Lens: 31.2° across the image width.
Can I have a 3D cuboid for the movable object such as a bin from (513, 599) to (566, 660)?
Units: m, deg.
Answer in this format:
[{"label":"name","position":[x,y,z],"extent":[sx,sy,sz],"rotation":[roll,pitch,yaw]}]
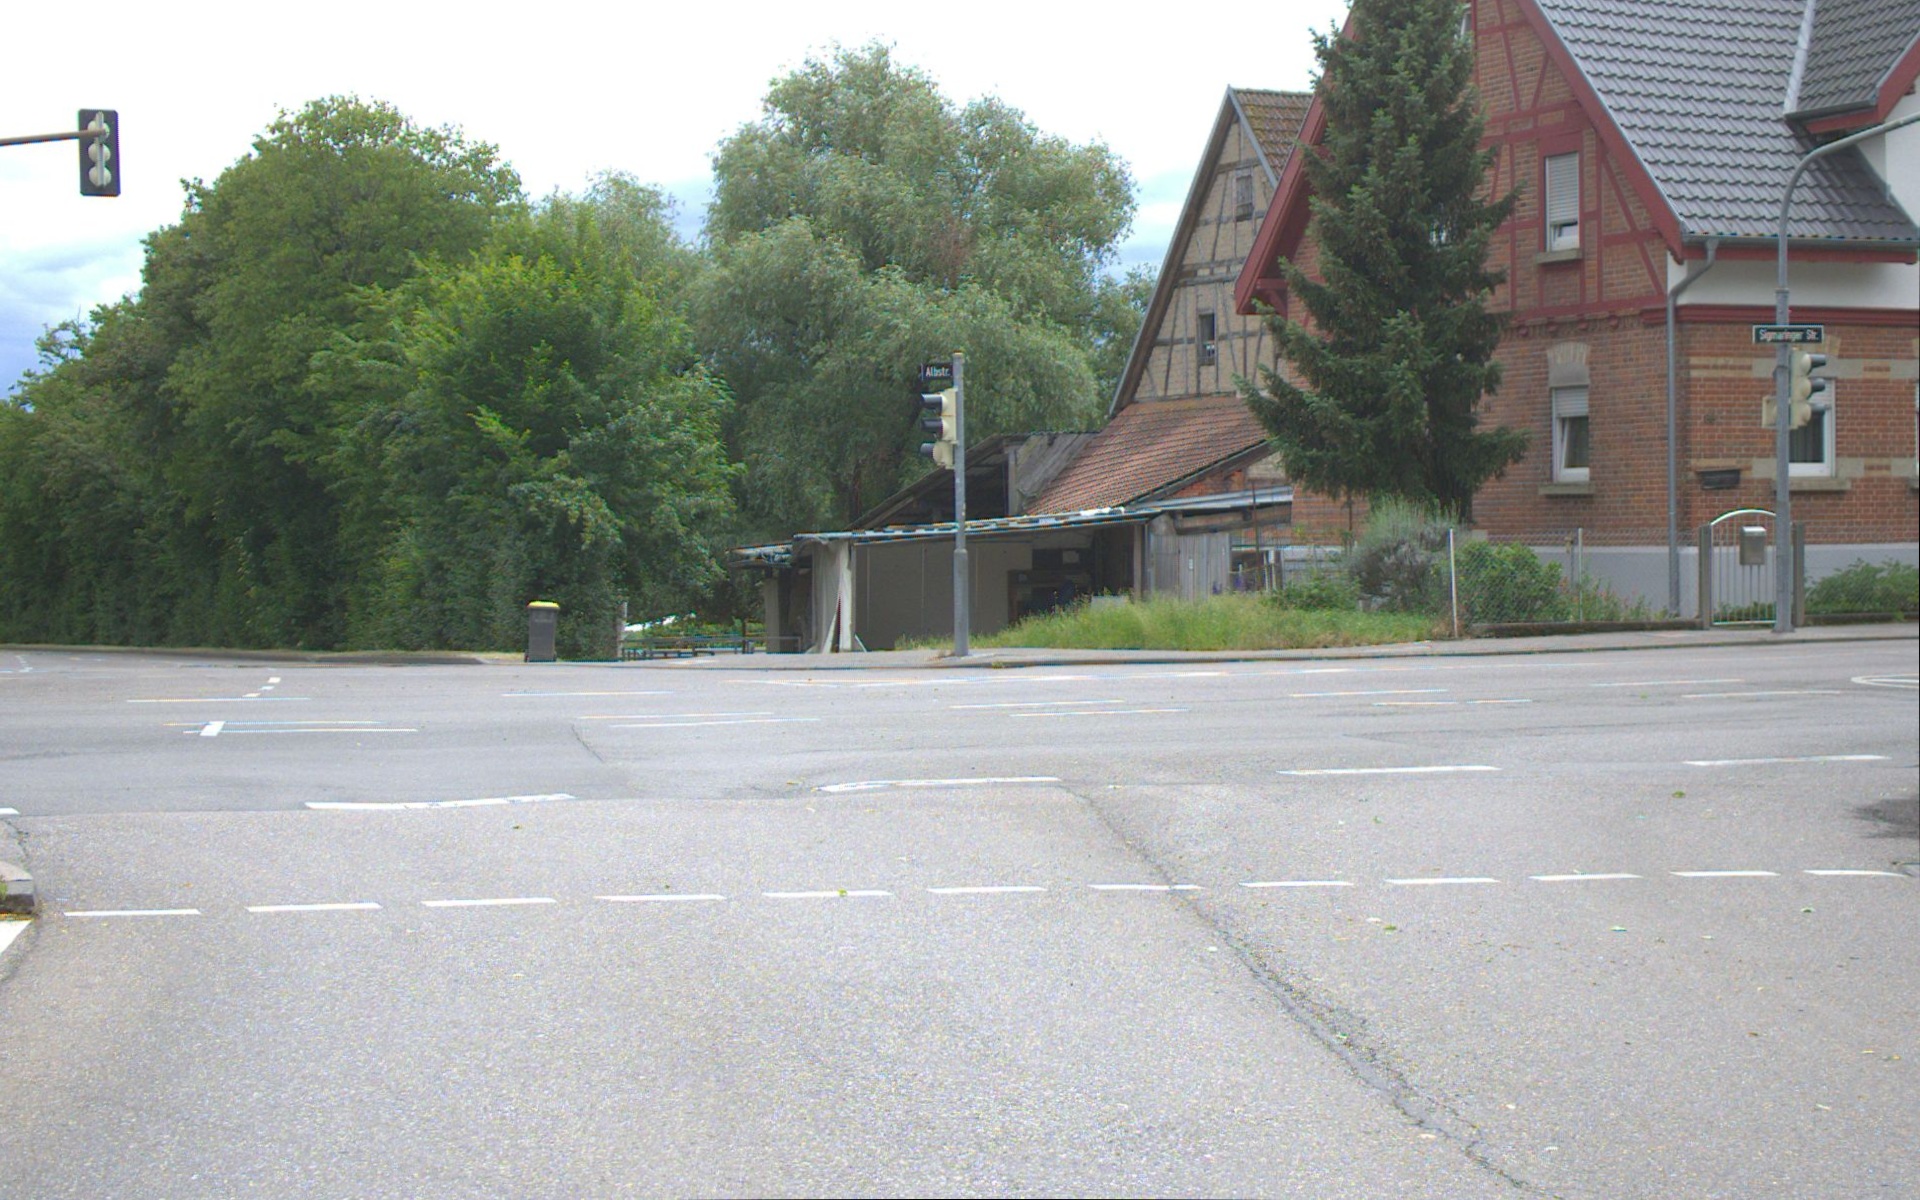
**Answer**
[{"label":"movable object such as a bin","position":[-6.363,0.452,52.016],"extent":[0.592,0.903,0.602],"rotation":[0,1,17]}]
